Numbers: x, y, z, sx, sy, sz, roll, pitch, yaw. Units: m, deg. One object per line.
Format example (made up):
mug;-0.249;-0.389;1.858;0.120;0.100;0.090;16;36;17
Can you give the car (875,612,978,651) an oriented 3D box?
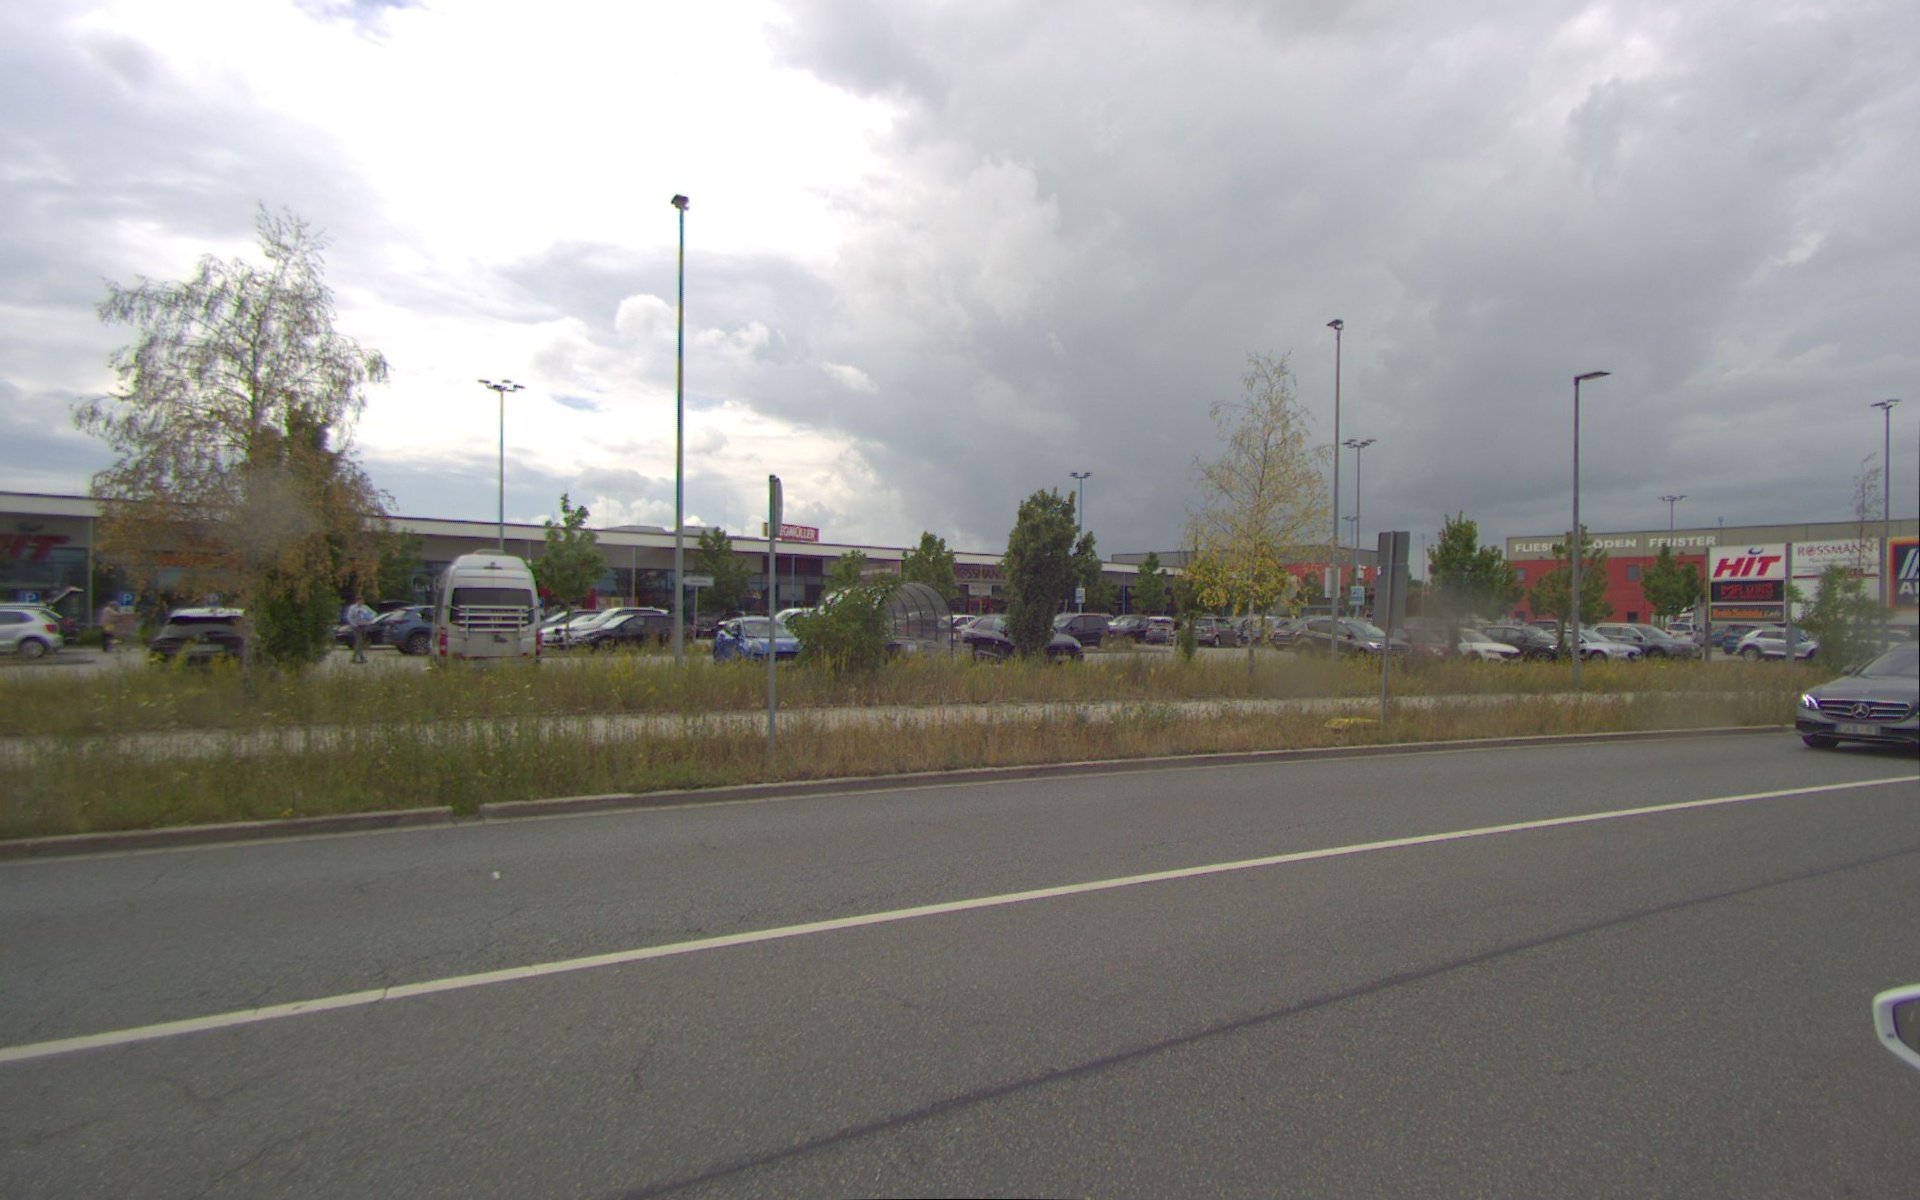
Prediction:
car;-1.375;1.335;42.881;4.168;1.539;1.974;2;-1;-44

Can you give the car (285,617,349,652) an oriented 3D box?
car;-29.039;1.532;45.306;1.983;1.494;3.955;1;-1;-39

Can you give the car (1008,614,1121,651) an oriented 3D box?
car;4.710;1.444;44.963;5.058;1.539;1.979;2;-1;-37

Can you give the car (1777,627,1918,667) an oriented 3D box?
car;39.174;2.044;44.448;2.015;1.533;4.236;1;0;-21

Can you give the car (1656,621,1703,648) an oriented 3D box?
car;49.776;2.370;69.435;3.973;1.752;1.974;1;-1;-44

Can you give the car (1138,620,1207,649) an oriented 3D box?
car;11.725;1.869;55.247;3.973;1.528;1.815;2;-1;-44

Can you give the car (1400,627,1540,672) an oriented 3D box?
car;18.407;1.740;36.497;1.981;1.476;4.310;1;-1;-22

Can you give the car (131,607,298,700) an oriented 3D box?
car;-14.636;0.981;19.966;2.059;1.656;3.927;1;-1;-28

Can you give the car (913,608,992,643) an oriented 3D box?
car;-0.346;1.279;51.559;1.813;1.706;3.977;0;-1;43

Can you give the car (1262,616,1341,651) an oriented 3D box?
car;16.723;1.634;49.100;3.970;1.628;1.975;1;-1;-42

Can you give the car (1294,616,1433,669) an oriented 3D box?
car;13.803;1.406;34.666;2.051;1.677;4.291;1;-1;-23

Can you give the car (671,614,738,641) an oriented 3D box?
car;-15.045;1.590;59.080;3.995;1.502;1.993;0;-1;43

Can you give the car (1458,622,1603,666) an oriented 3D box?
car;21.394;1.611;37.883;2.206;1.525;4.359;1;-1;-21

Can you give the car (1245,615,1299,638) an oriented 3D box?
car;22.842;1.939;73.440;4.265;1.628;1.974;1;-1;-44

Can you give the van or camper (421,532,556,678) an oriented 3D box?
van or camper;-10.723;0.165;22.577;2.217;2.837;5.825;2;-1;-30

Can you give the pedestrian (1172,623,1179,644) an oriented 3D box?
pedestrian;11.002;1.694;51.375;0.263;1.063;0.391;1;0;1

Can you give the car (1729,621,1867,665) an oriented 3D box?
car;36.549;1.855;43.933;2.001;1.746;4.229;2;-1;-25

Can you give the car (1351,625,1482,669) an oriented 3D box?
car;16.111;1.622;35.662;1.969;1.409;4.080;1;-1;-20

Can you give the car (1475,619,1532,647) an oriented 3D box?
car;32.988;1.980;60.936;3.973;1.628;1.974;1;-1;-44

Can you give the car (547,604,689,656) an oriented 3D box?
car;-13.406;1.169;39.514;4.883;1.924;2.135;1;-1;-39

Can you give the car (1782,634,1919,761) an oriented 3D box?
car;13.443;1.233;13.633;4.704;1.509;1.779;1;-2;-26

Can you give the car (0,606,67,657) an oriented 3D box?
car;-28.417;0.890;29.010;3.874;1.461;1.868;1;-1;-42

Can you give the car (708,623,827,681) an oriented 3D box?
car;-5.118;1.295;26.216;1.985;1.322;4.309;1;-1;-26

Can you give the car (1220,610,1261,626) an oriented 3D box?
car;30.371;1.949;108.712;1.980;1.628;3.961;2;-1;-35

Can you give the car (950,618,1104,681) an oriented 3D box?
car;1.397;1.053;22.678;1.981;1.276;4.074;1;-1;-21

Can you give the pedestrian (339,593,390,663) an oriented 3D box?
pedestrian;-16.754;0.778;28.273;1.104;1.915;1.000;1;-1;-38

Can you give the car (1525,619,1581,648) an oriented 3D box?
car;34.711;1.944;58.776;3.973;1.628;1.830;1;-1;-44

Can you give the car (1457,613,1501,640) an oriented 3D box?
car;40.927;2.113;79.167;3.974;2.040;1.974;2;0;-45

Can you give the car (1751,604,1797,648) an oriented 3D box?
car;53.180;1.693;65.611;2.036;2.726;5.117;0;-1;43

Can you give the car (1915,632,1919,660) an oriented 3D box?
car;50.635;2.345;49.940;1.972;1.454;4.216;1;-1;-27

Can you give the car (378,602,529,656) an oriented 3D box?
car;-17.688;0.990;35.194;4.361;1.775;1.885;1;-1;-44

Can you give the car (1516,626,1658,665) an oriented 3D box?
car;24.134;1.735;38.848;1.999;1.357;4.301;1;-1;-24

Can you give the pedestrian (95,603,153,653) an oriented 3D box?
pedestrian;-27.573;0.922;33.142;0.874;1.628;1.255;0;-1;30

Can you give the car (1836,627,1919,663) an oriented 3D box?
car;43.845;2.073;46.793;1.966;1.580;4.227;1;-1;-30

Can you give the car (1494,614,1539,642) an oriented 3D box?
car;42.748;2.115;77.179;3.974;2.040;1.974;2;0;-45

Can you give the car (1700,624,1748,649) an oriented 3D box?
car;51.228;2.409;67.337;3.973;1.628;1.974;1;-1;-44

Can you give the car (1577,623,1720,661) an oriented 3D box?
car;27.691;1.671;40.560;2.132;1.409;4.353;1;-1;-19

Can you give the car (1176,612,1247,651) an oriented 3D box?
car;13.346;1.644;53.120;1.811;1.947;4.426;0;-1;41

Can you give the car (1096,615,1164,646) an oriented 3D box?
car;9.702;1.748;57.236;3.973;1.706;1.815;2;-2;-44

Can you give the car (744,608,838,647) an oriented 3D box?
car;-8.606;1.370;51.390;4.276;1.899;2.216;1;-1;-43
